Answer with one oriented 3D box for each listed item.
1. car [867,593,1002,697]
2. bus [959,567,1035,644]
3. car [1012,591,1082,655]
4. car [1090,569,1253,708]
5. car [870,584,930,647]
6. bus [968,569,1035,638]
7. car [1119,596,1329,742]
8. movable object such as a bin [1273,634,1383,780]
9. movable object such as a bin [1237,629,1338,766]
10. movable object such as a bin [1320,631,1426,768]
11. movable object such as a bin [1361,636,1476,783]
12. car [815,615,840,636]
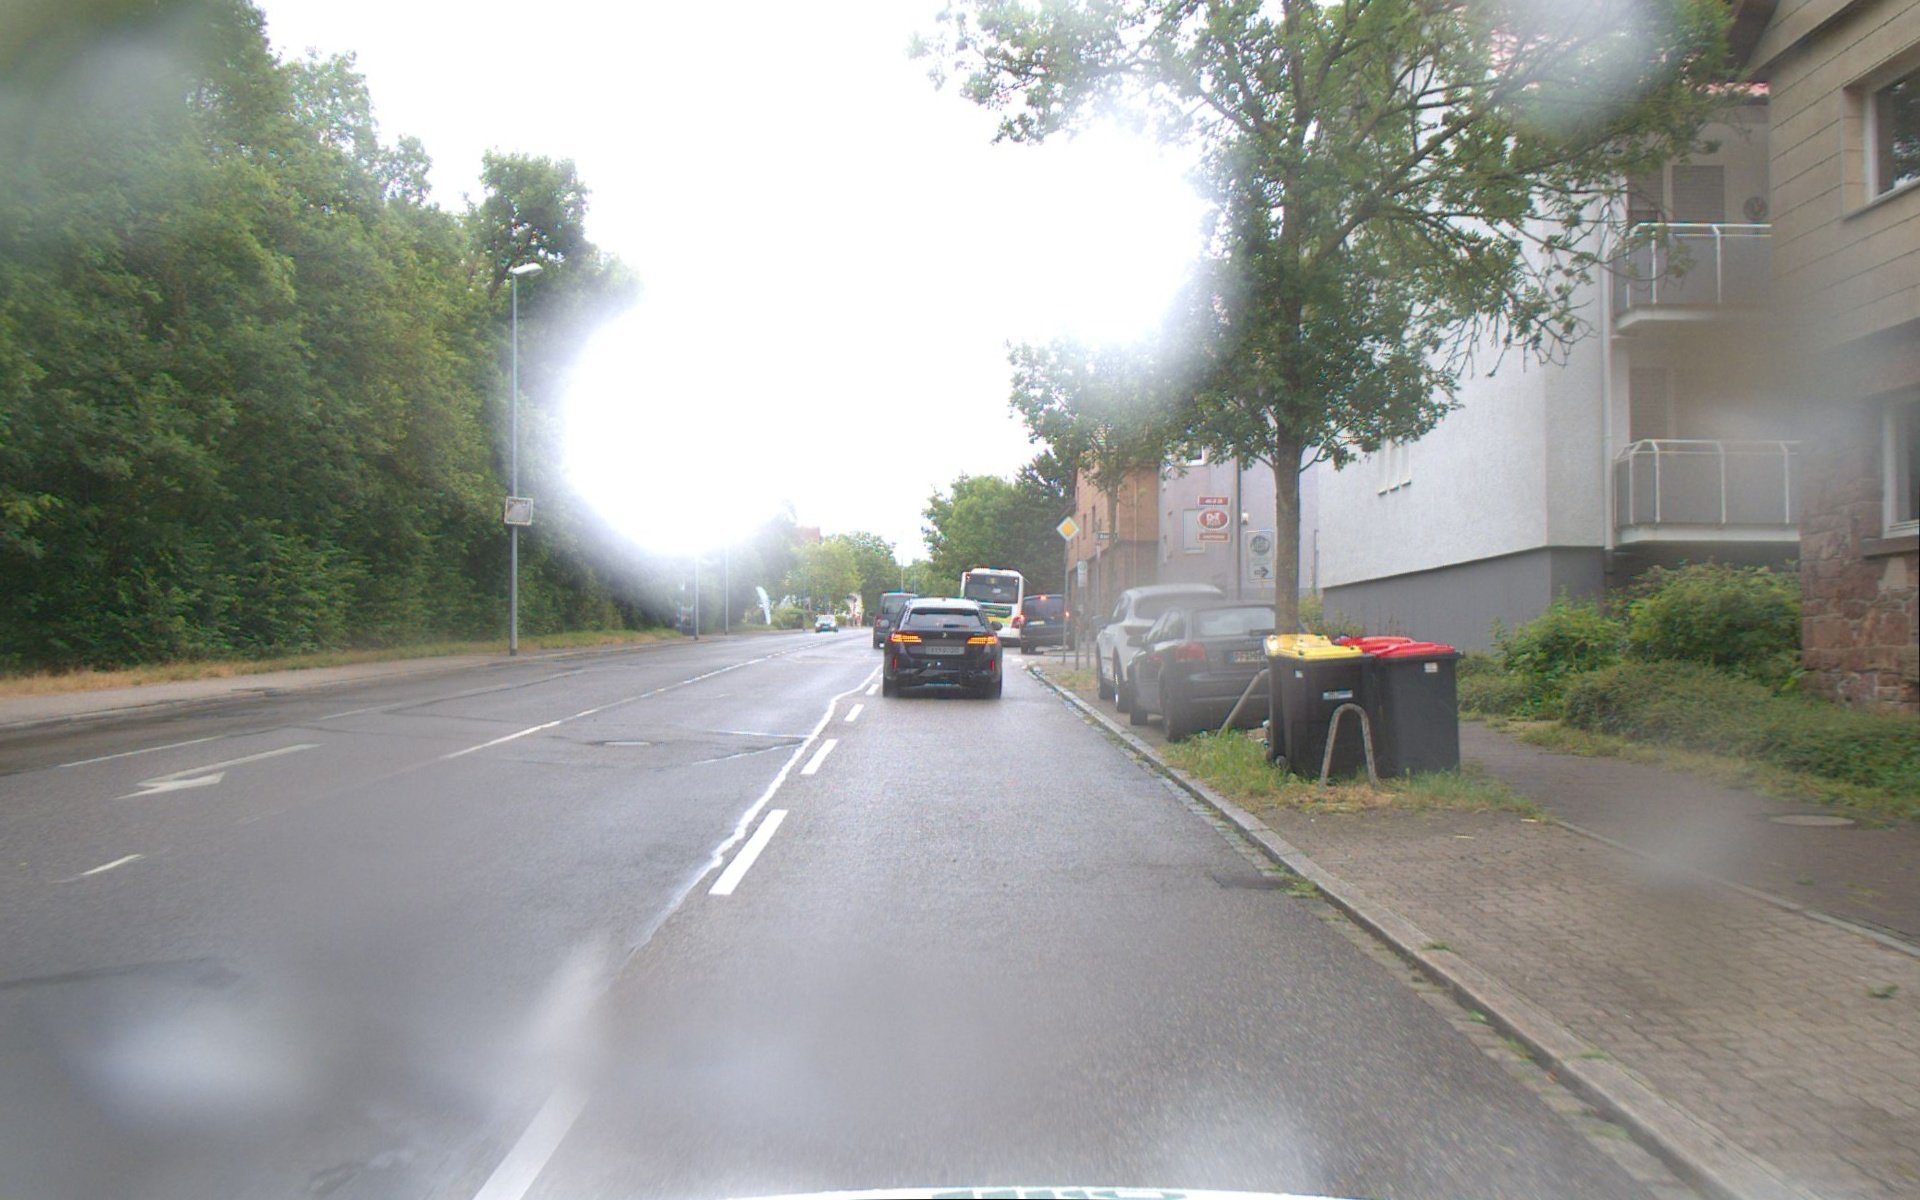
[{"bbox_3d":[-0.489,0.674,26.841,1.954,1.478,3.997,2,0,-4],"label":"car"},{"bbox_3d":[1.588,0.175,67.089,2.568,2.897,8.293,-1,0,5],"label":"bus"},{"bbox_3d":[2.962,0.775,55.428,1.886,1.925,4.764,-4,-1,7],"label":"car"},{"bbox_3d":[2.980,0.492,24.194,1.787,1.803,4.541,-1,0,0],"label":"car"},{"bbox_3d":[-2.025,0.501,56.661,1.953,2.049,3.999,0,0,-1],"label":"car"},{"bbox_3d":[1.820,0.105,76.084,2.570,2.897,9.792,-1,0,-1],"label":"bus"},{"bbox_3d":[2.888,0.709,18.882,1.608,1.474,3.996,0,0,-2],"label":"car"},{"bbox_3d":[2.897,0.828,13.085,0.607,1.068,0.822,-3,1,-4],"label":"movable object such as a bin"},{"bbox_3d":[2.759,0.809,13.980,0.607,1.068,0.822,-3,1,-4],"label":"movable object such as a bin"},{"bbox_3d":[3.483,0.825,14.003,0.607,1.068,0.822,-3,1,-4],"label":"movable object such as a bin"},{"bbox_3d":[3.614,0.844,13.083,0.607,1.068,0.822,-3,1,-4],"label":"movable object such as a bin"},{"bbox_3d":[-10.884,2.070,136.026,1.734,1.560,3.999,-1,0,-1],"label":"car"}]
